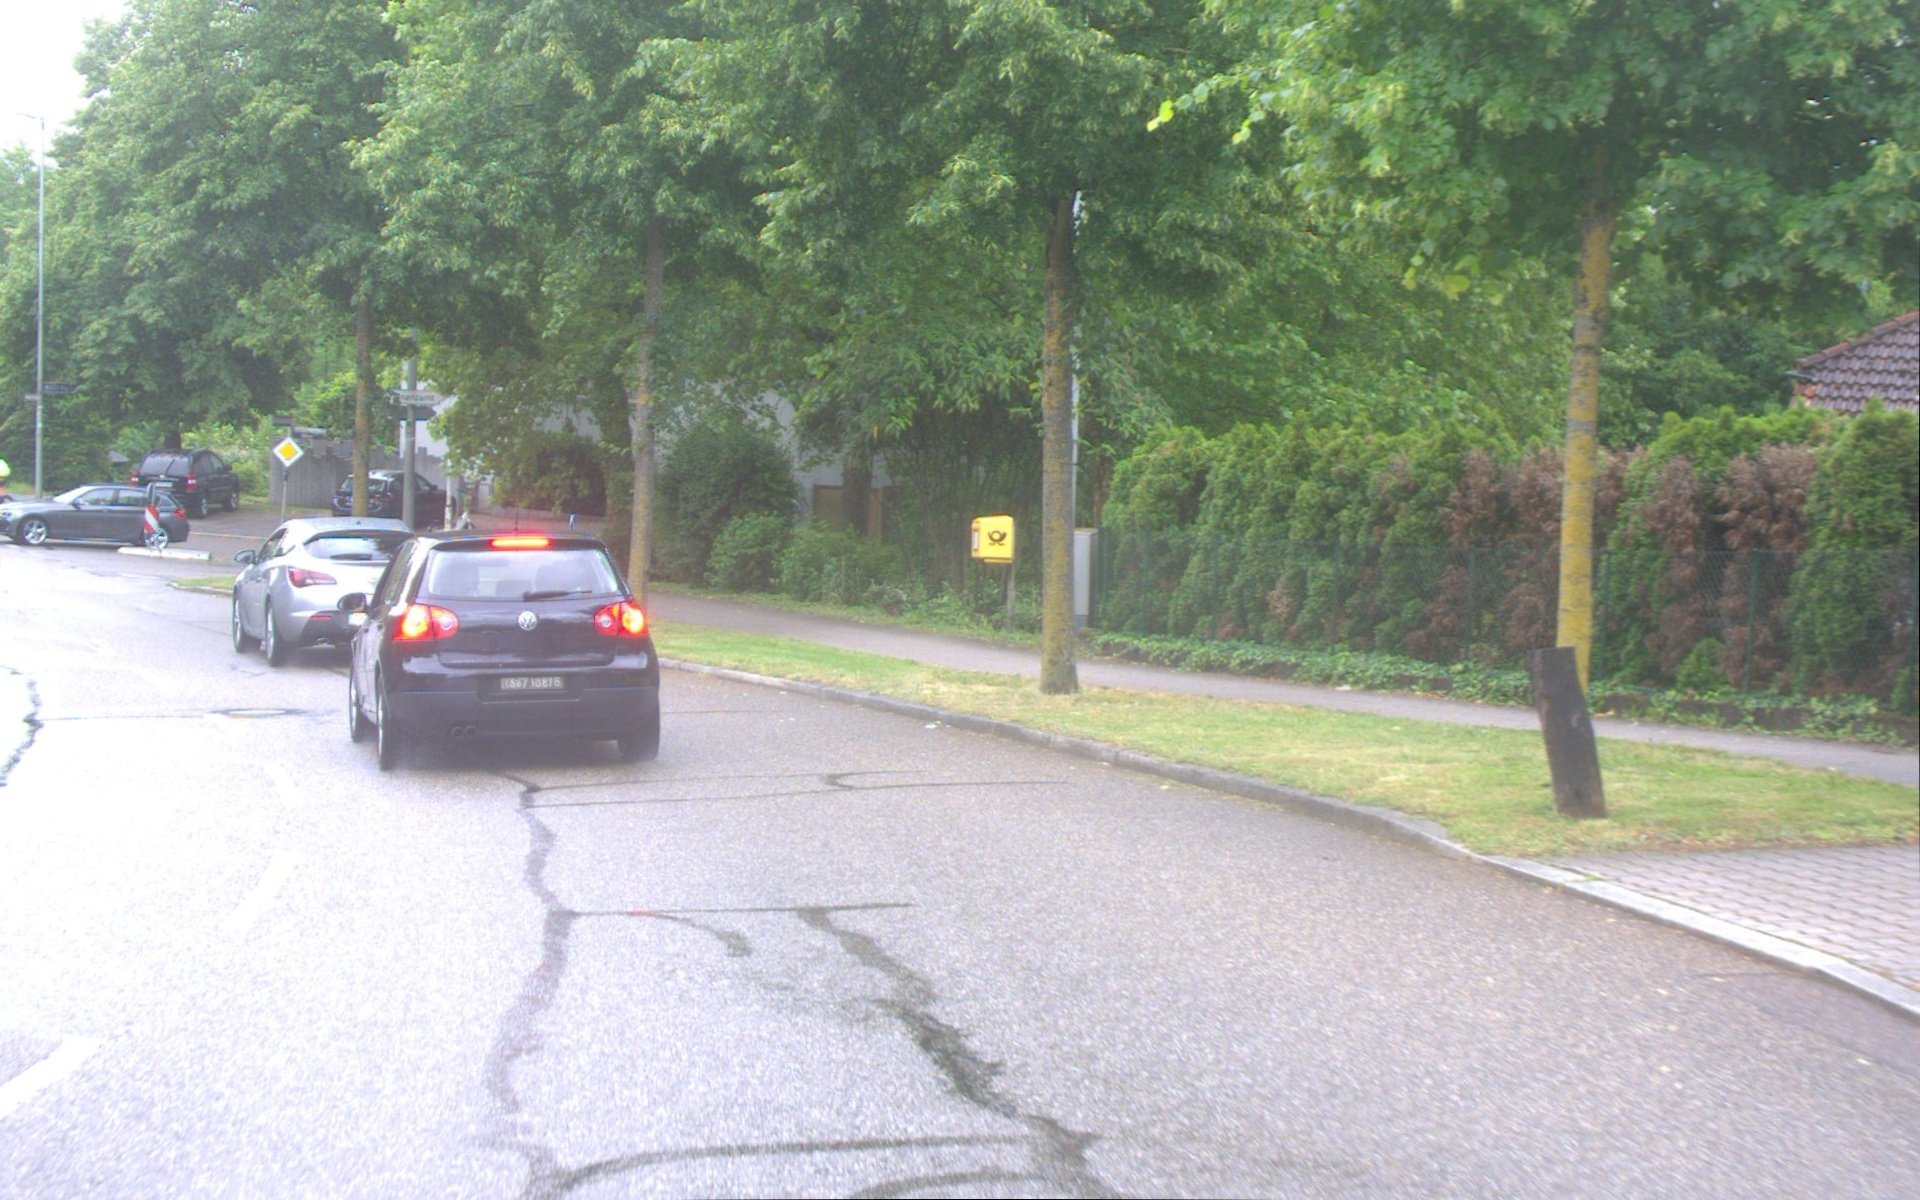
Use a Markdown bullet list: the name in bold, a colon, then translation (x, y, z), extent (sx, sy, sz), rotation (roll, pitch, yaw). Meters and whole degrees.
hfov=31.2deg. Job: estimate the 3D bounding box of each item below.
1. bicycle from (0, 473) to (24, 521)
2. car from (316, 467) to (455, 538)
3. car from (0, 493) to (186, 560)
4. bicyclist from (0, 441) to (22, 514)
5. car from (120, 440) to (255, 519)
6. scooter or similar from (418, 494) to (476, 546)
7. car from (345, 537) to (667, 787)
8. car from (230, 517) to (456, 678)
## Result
- **bicycle**: translation (-23.744, -2.524, 83.749), extent (2.036, 1.151, 0.852), rotation (3, 2, 42)
- **car**: translation (-14.665, -2.511, 87.988), extent (1.752, 1.464, 4.564), rotation (5, 6, 14)
- **car**: translation (-19.451, -1.635, 76.300), extent (4.125, 1.379, 1.727), rotation (1, 1, -26)
- **bicyclist**: translation (-23.551, -2.977, 83.568), extent (1.285, 1.749, 0.852), rotation (2, 2, 42)
- **car**: translation (-19.867, -3.122, 88.606), extent (1.948, 1.683, 4.904), rotation (4, 5, 5)
- **scooter or similar**: translation (-12.870, -2.006, 86.276), extent (1.335, 1.281, 0.562), rotation (-1, 3, -29)
- **car**: translation (-3.049, 0.339, 22.481), extent (1.721, 1.459, 4.001), rotation (1, 1, -12)
- **car**: translation (-6.353, -0.064, 35.079), extent (1.754, 1.459, 4.002), rotation (0, 2, -18)
